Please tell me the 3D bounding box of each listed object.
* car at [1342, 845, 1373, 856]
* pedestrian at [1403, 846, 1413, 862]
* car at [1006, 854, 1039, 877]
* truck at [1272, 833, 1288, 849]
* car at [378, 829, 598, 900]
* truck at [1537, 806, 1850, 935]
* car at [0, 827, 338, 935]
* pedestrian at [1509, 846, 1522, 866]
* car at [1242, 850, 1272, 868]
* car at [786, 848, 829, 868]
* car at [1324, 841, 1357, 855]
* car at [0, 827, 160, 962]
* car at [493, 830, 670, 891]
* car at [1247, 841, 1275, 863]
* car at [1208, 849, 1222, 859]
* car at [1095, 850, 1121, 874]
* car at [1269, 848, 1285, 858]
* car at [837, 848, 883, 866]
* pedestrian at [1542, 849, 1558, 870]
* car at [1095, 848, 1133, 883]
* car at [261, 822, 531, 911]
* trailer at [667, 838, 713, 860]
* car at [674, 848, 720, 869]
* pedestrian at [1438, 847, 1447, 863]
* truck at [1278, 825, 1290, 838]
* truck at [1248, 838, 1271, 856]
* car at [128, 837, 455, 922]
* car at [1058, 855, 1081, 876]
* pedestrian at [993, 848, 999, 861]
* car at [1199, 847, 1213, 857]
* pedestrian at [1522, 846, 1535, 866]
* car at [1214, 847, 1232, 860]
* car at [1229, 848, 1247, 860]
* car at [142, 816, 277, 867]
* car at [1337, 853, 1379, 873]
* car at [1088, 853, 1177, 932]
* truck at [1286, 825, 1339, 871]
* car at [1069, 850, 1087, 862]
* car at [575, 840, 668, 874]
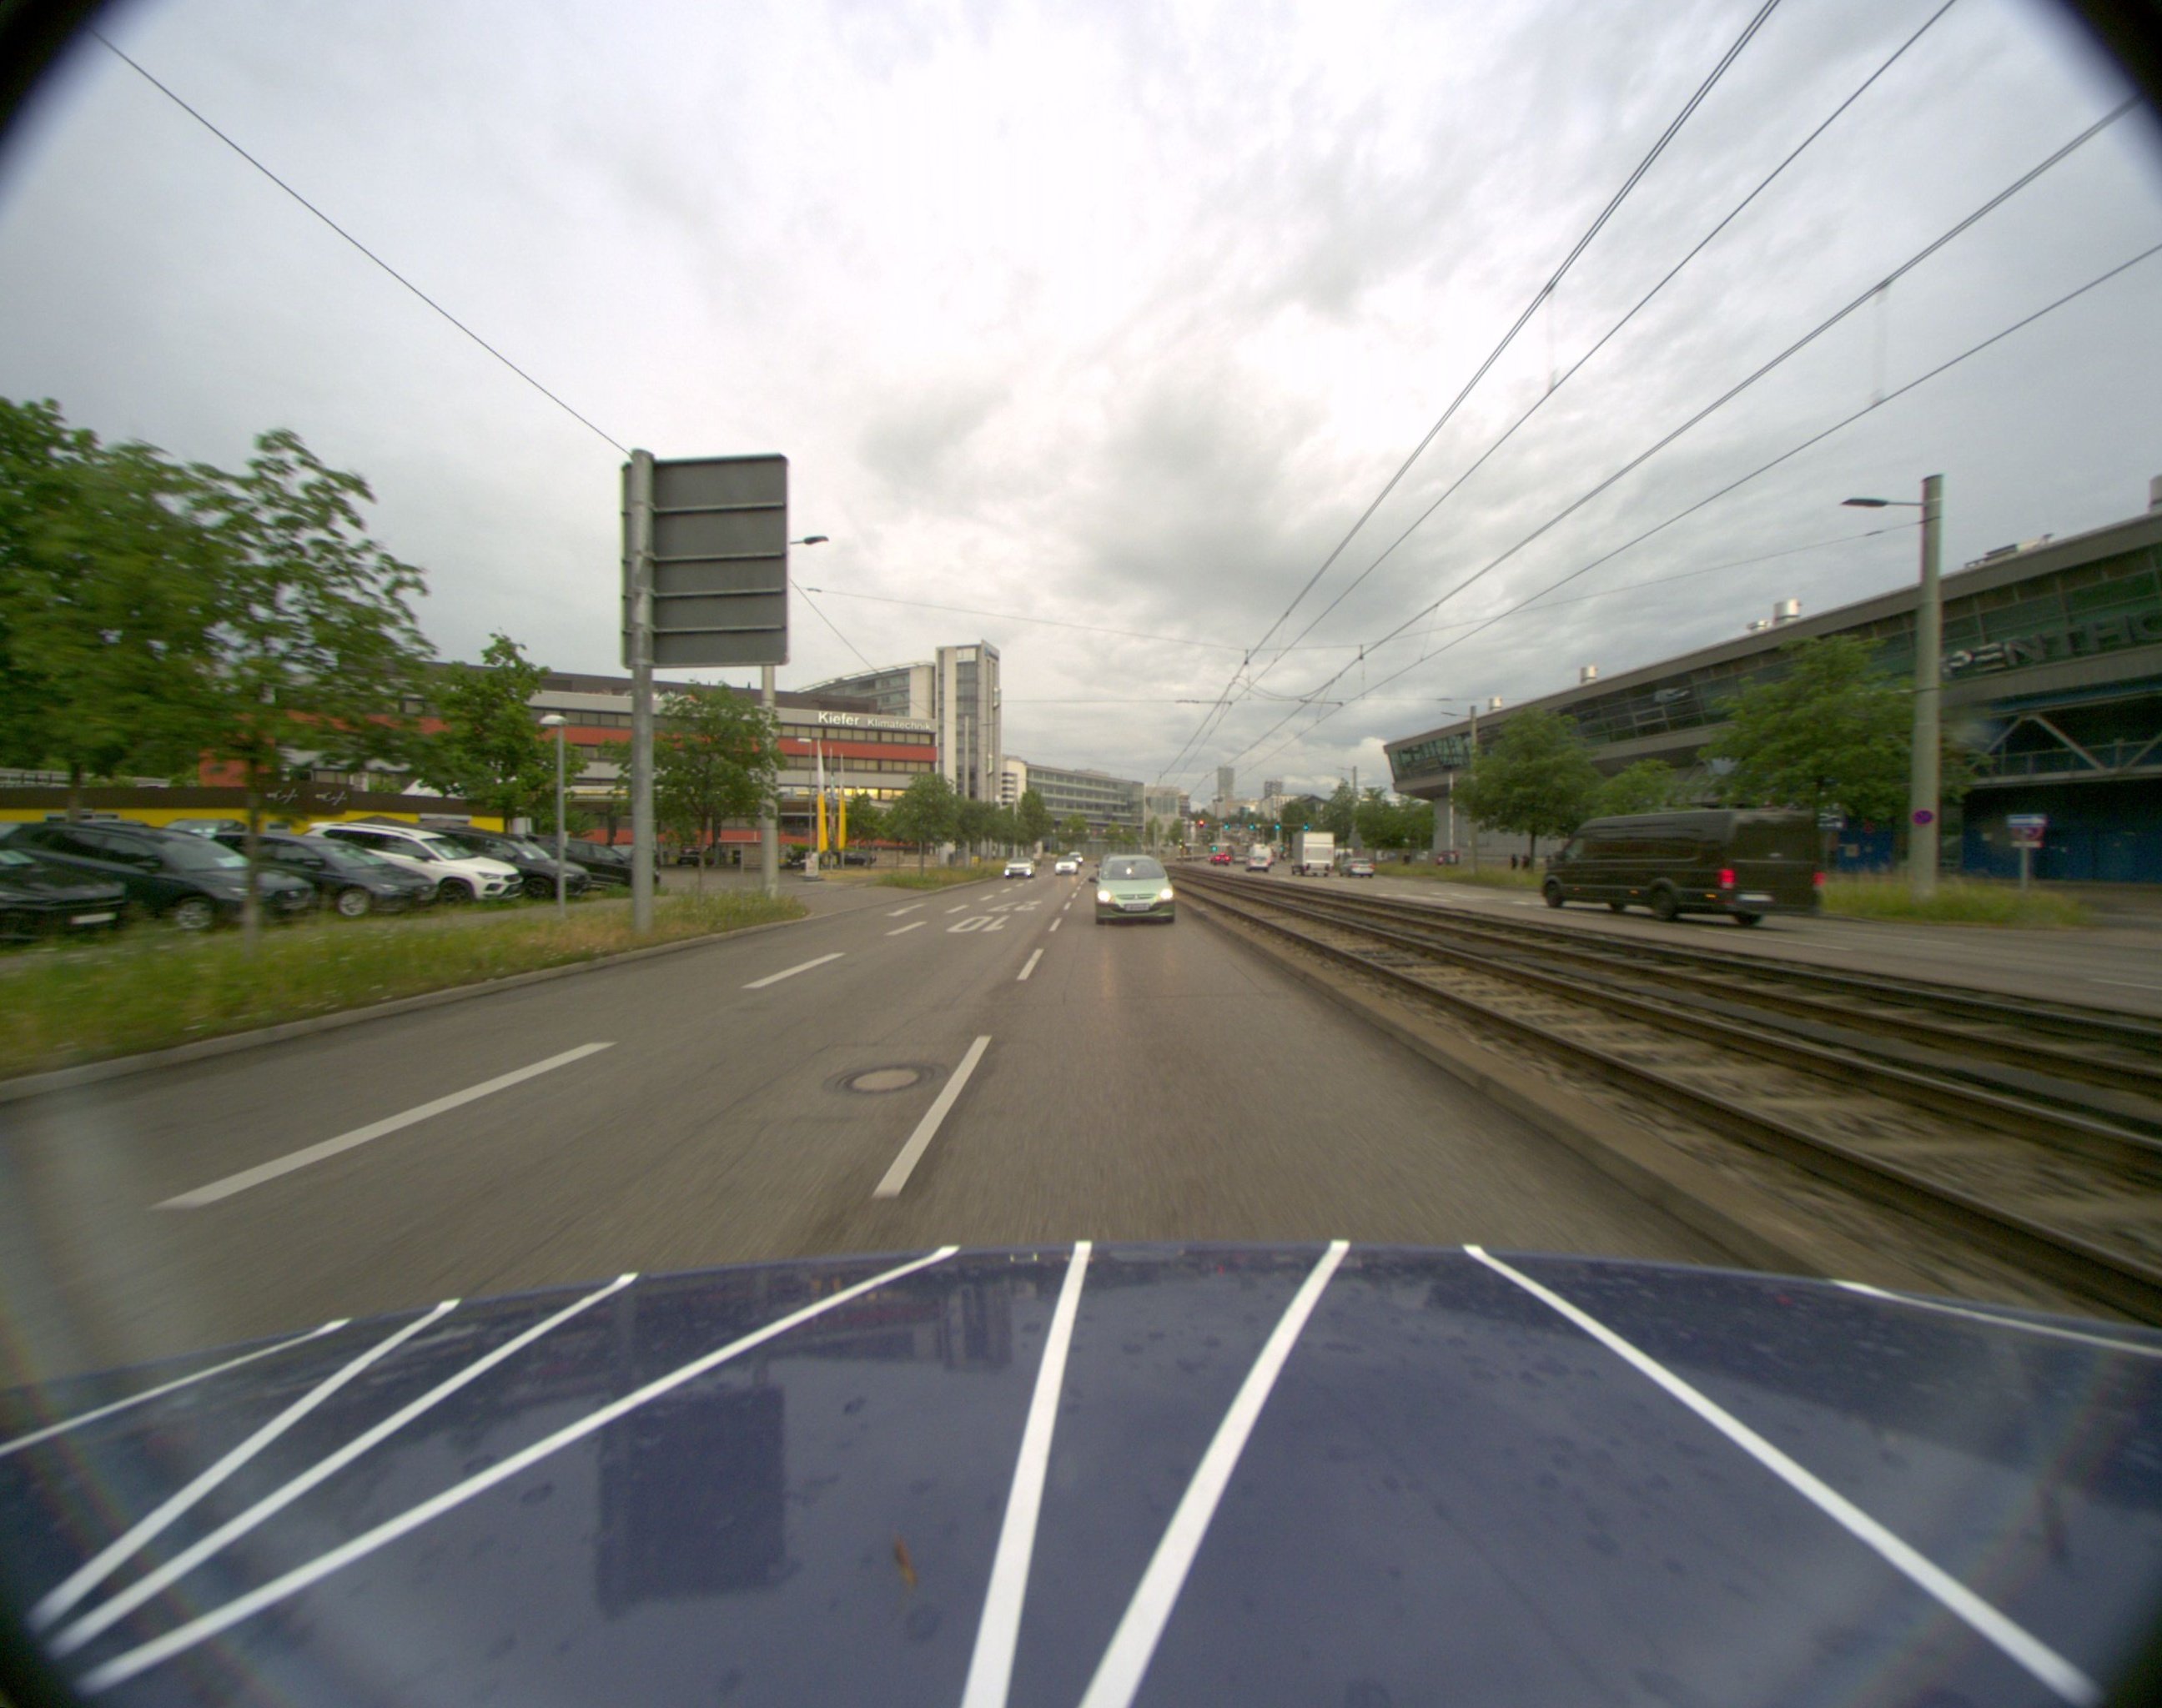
[{"bbox_3d":[44.875,-0.552,123.394,4.253,1.706,1.912,0,1,-5],"label":"car"},{"bbox_3d":[32.587,-0.030,75.663,0.684,1.554,0.627,-3,1,2],"label":"pedestrian"},{"bbox_3d":[-4.154,0.794,54.272,1.878,1.485,3.836,-1,0,2],"label":"car"},{"bbox_3d":[55.892,-3.559,213.133,3.261,4.503,7.103,0,1,22],"label":"truck"},{"bbox_3d":[-16.150,0.283,20.951,4.392,1.779,1.876,1,1,-12],"label":"car"},{"bbox_3d":[14.475,0.290,18.871,2.244,2.550,7.014,1,1,2],"label":"truck"},{"bbox_3d":[-16.416,0.456,13.376,4.501,1.742,1.819,1,1,-11],"label":"car"},{"bbox_3d":[32.005,0.156,56.004,0.512,1.448,0.653,-3,1,-9],"label":"pedestrian"},{"bbox_3d":[15.709,0.408,67.884,1.809,1.490,4.442,2,0,3],"label":"car"},{"bbox_3d":[-20.776,0.267,57.896,1.784,1.411,3.782,1,0,1],"label":"car"},{"bbox_3d":[43.649,-0.961,127.723,5.066,2.318,1.997,0,1,-15],"label":"car"},{"bbox_3d":[-16.455,0.492,10.566,4.501,1.785,1.819,1,1,-11],"label":"car"},{"bbox_3d":[-16.126,0.236,24.710,1.873,1.805,4.401,2,0,40],"label":"car"},{"bbox_3d":[21.577,-0.276,91.374,2.437,2.486,6.550,1,1,6],"label":"car"},{"bbox_3d":[20.378,0.047,115.563,1.951,1.476,4.997,0,0,7],"label":"car"},{"bbox_3d":[1.929,0.531,54.433,1.762,1.535,3.714,-3,1,2],"label":"car"},{"bbox_3d":[27.387,-0.164,106.162,1.751,1.392,4.002,1,1,8],"label":"car"},{"bbox_3d":[-22.735,0.301,78.097,4.363,1.637,1.791,-3,1,-20],"label":"car"},{"bbox_3d":[31.951,0.356,51.765,0.609,1.431,0.745,-3,1,-2],"label":"pedestrian"},{"bbox_3d":[1.673,0.546,37.825,1.761,1.535,3.714,-3,1,3],"label":"car"},{"bbox_3d":[-16.317,0.304,18.403,4.503,1.980,1.818,1,1,-16],"label":"car"},{"bbox_3d":[-38.331,-0.486,74.584,4.005,2.134,1.835,0,1,-25],"label":"trailer"},{"bbox_3d":[-33.376,0.402,66.107,1.903,1.640,3.999,4,1,0],"label":"car"},{"bbox_3d":[34.903,0.117,73.364,0.549,1.489,0.758,-3,1,5],"label":"pedestrian"},{"bbox_3d":[68.675,-7.529,257.120,3.381,4.115,7.640,0,1,19],"label":"truck"},{"bbox_3d":[38.523,-1.426,164.325,4.086,3.735,10.861,0,0,10],"label":"truck"},{"bbox_3d":[-16.265,0.518,15.940,4.502,1.628,1.819,1,1,-12],"label":"car"},{"bbox_3d":[-0.925,0.895,61.679,1.818,1.584,3.836,0,1,0],"label":"car"},{"bbox_3d":[-12.332,0.123,110.141,0.683,1.890,0.677,-3,1,-21],"label":"pedestrian"},{"bbox_3d":[22.632,-0.417,137.430,1.998,1.721,4.679,1,0,3],"label":"car"},{"bbox_3d":[32.788,0.123,55.684,0.452,1.448,0.653,-3,1,-9],"label":"pedestrian"},{"bbox_3d":[18.720,-0.087,100.304,1.913,1.647,4.362,2,1,5],"label":"car"},{"bbox_3d":[23.214,0.024,112.451,1.944,1.661,4.510,1,0,5],"label":"car"},{"bbox_3d":[-30.301,-0.399,26.593,1.848,1.634,4.305,0,0,-31],"label":"car"},{"bbox_3d":[21.066,0.649,57.952,1.901,1.480,4.425,0,0,5],"label":"car"},{"bbox_3d":[1.130,0.796,17.748,1.762,1.489,4.137,-3,1,2],"label":"car"},{"bbox_3d":[17.912,-0.456,59.117,2.732,3.338,7.156,2,1,8],"label":"truck"},{"bbox_3d":[-0.380,0.213,102.942,1.889,1.584,3.983,-1,0,7],"label":"car"},{"bbox_3d":[-25.270,0.122,41.999,1.998,1.726,4.718,1,1,5],"label":"car"}]
